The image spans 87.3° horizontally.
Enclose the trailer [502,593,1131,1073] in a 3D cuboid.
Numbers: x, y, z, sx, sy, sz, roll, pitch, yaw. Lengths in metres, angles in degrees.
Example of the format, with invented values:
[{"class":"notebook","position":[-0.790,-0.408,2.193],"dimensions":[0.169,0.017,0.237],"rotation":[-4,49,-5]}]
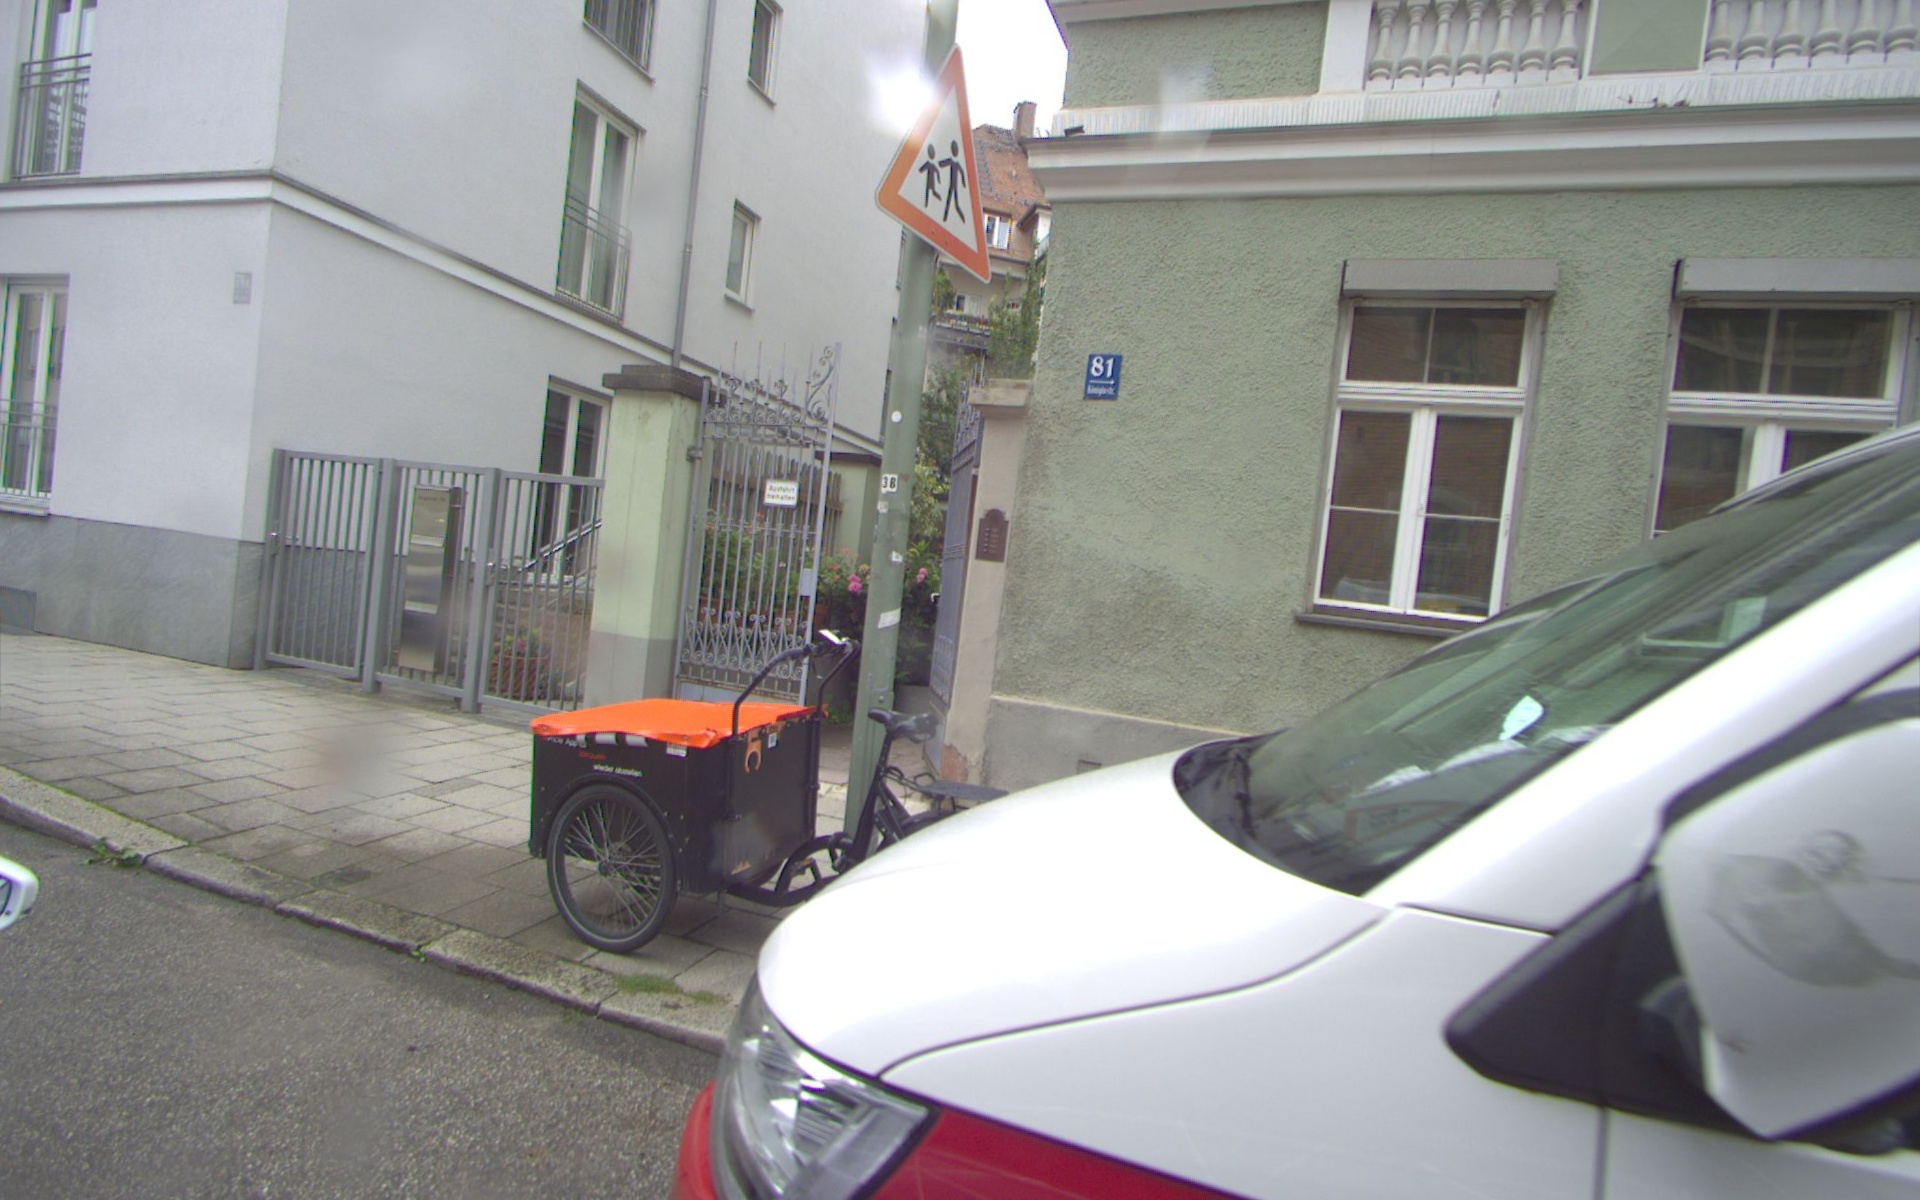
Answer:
[{"class":"trailer","position":[-0.567,0.689,3.826],"dimensions":[2.125,1.200,0.943],"rotation":[7,4,25]}]

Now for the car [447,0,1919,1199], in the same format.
[{"class":"car","position":[1.878,0.725,1.176],"dimensions":[4.507,1.918,1.860],"rotation":[7,-1,21]}]
